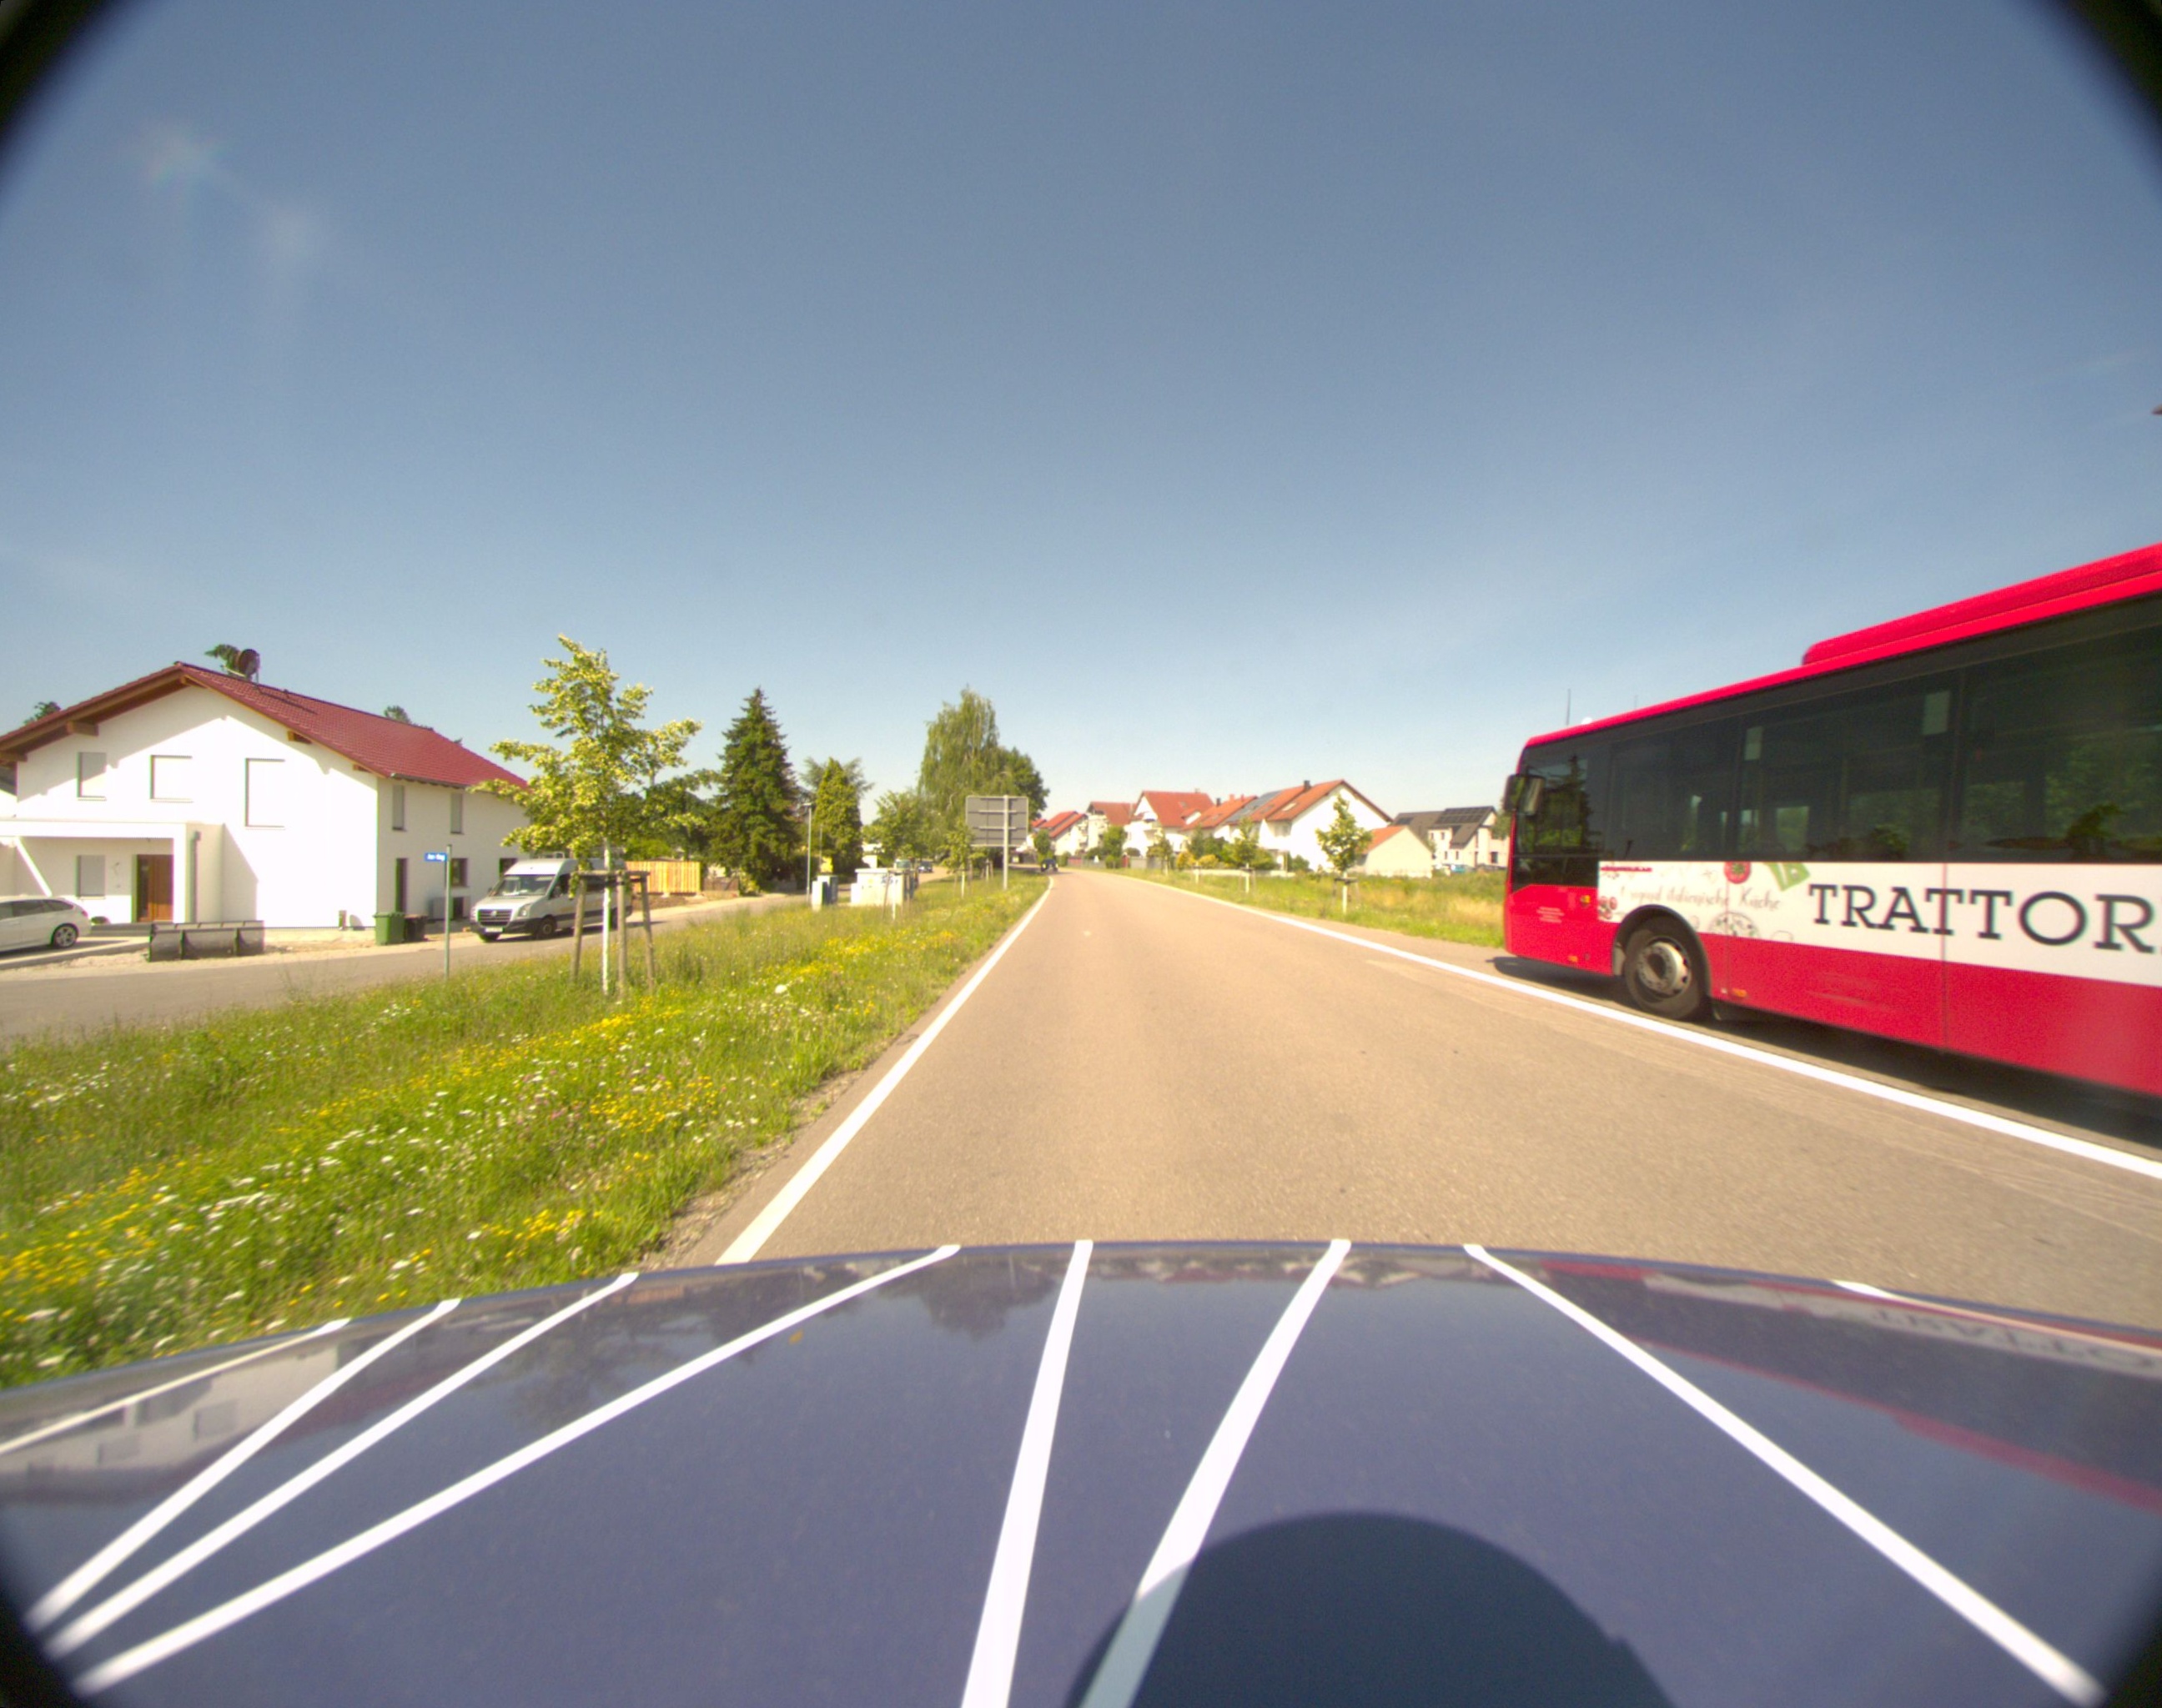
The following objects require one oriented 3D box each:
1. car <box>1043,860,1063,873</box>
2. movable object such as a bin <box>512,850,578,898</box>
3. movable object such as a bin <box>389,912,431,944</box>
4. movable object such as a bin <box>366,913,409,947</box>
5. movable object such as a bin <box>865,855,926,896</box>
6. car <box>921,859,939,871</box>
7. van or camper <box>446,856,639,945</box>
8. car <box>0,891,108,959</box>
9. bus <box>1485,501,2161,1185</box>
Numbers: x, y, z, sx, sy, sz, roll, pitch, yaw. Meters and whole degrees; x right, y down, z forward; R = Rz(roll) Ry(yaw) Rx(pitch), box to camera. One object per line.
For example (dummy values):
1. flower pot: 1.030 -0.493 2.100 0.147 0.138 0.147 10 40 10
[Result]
1. car: -3.548 1.598 95.660 1.935 1.552 3.997 2 0 -9
2. movable object such as a bin: -29.335 1.053 41.695 2.884 2.542 1.782 0 0 -34
3. movable object such as a bin: -20.413 2.239 23.124 0.694 0.932 0.639 0 0 4
4. movable object such as a bin: -20.462 2.245 22.432 0.694 0.932 0.639 0 0 4
5. movable object such as a bin: -11.974 1.322 49.667 2.322 2.448 6.944 -1 0 0
6. car: -21.008 1.497 105.549 1.863 1.437 4.166 -2 0 -4
7. van or camper: -17.783 1.395 25.629 2.177 2.586 6.030 -1 1 0
8. car: -27.264 1.819 18.758 1.564 1.548 4.481 -2 0 -15
9. bus: 6.559 -0.055 3.566 2.801 3.267 12.229 0 0 0
